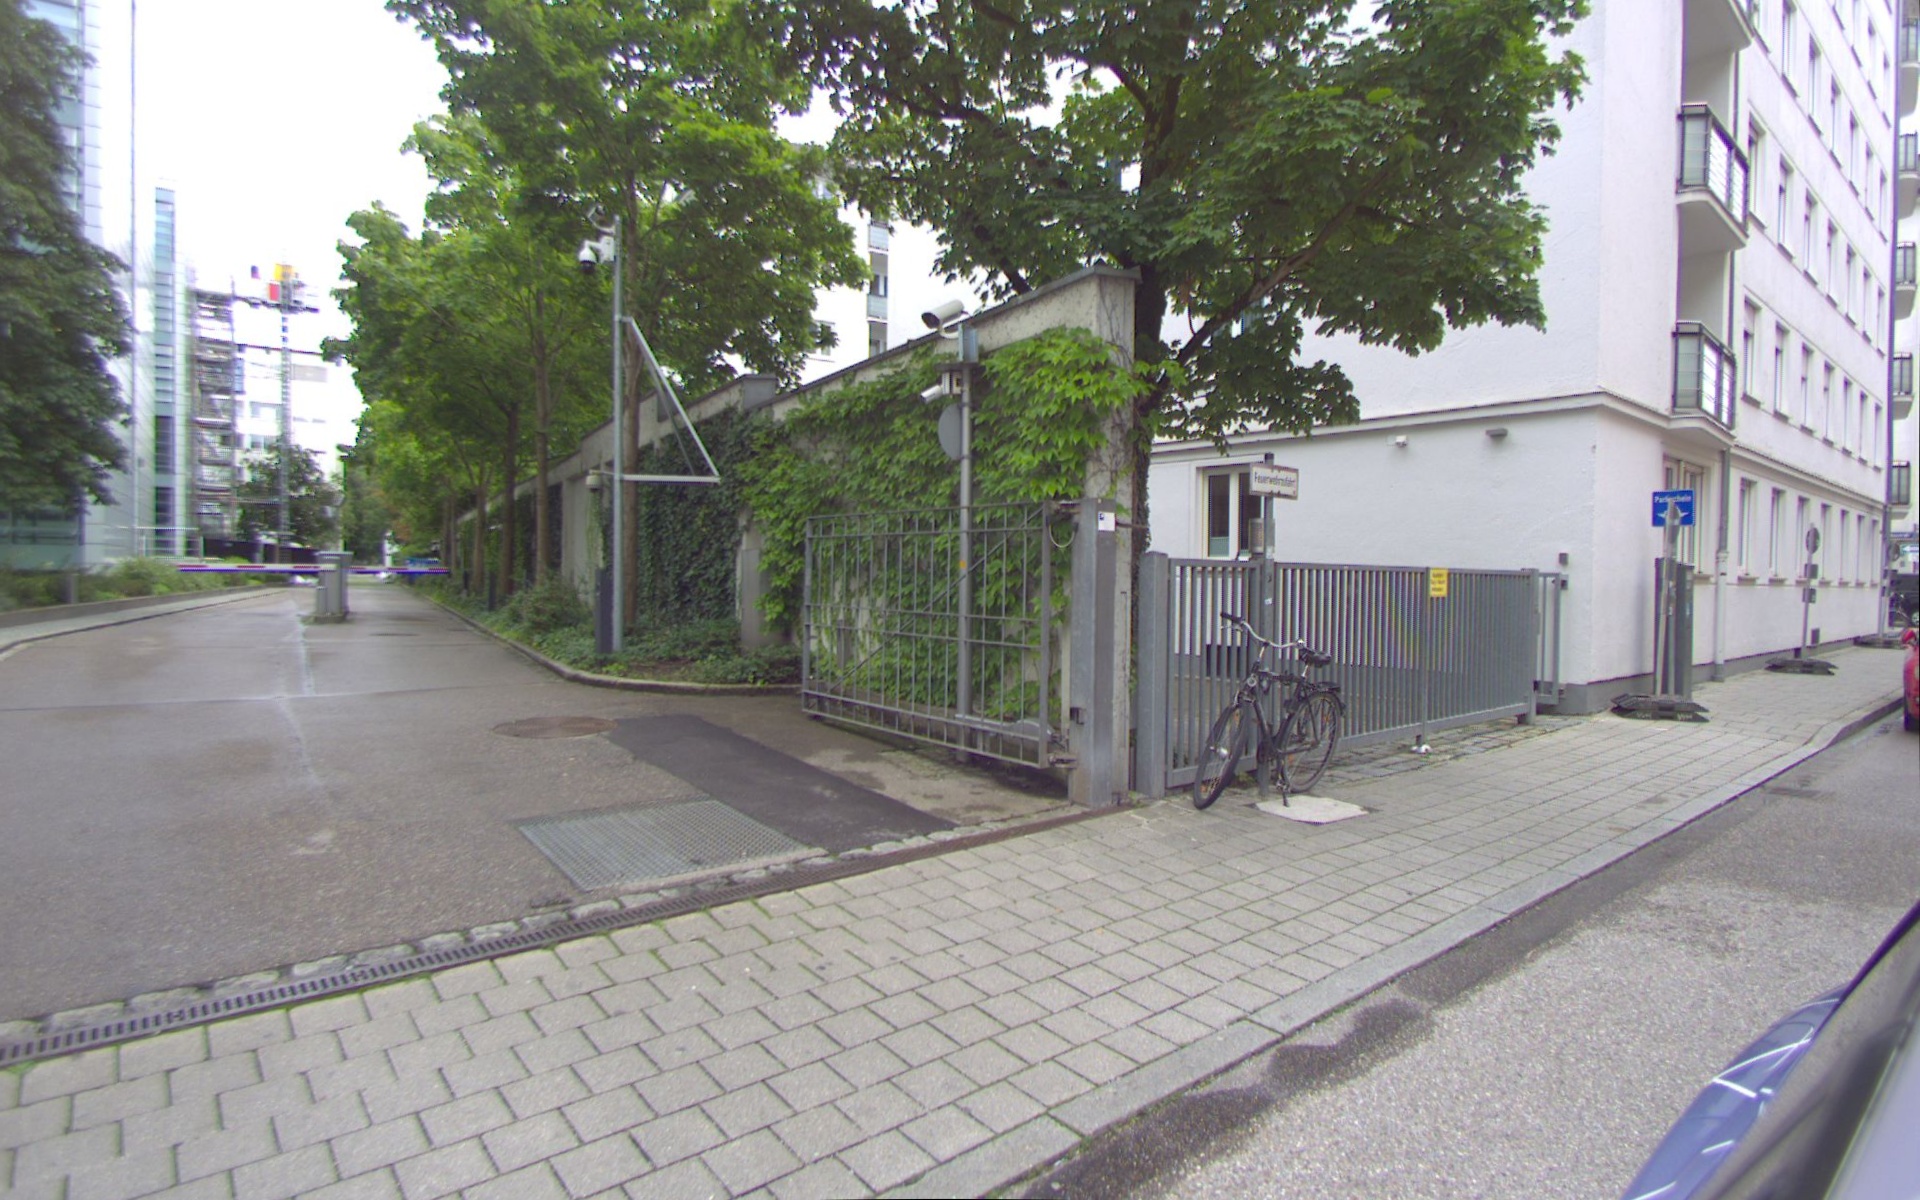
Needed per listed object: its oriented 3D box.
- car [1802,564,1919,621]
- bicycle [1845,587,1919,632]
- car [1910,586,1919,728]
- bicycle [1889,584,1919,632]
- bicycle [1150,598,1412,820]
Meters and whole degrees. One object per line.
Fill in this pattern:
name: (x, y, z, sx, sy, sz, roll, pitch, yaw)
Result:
car: (33.181, -0.272, 35.923, 1.895, 1.914, 4.687, 1, 2, -32)
bicycle: (24.135, 0.239, 26.389, 1.490, 1.056, 0.395, 4, 4, 32)
car: (11.945, 0.565, 11.425, 1.761, 1.465, 4.231, 0, 1, 43)
bicycle: (25.713, 0.197, 27.333, 0.395, 1.219, 1.494, 3, 4, 24)
bicycle: (2.097, 0.642, 6.479, 1.800, 1.213, 0.709, 3, -1, -40)
